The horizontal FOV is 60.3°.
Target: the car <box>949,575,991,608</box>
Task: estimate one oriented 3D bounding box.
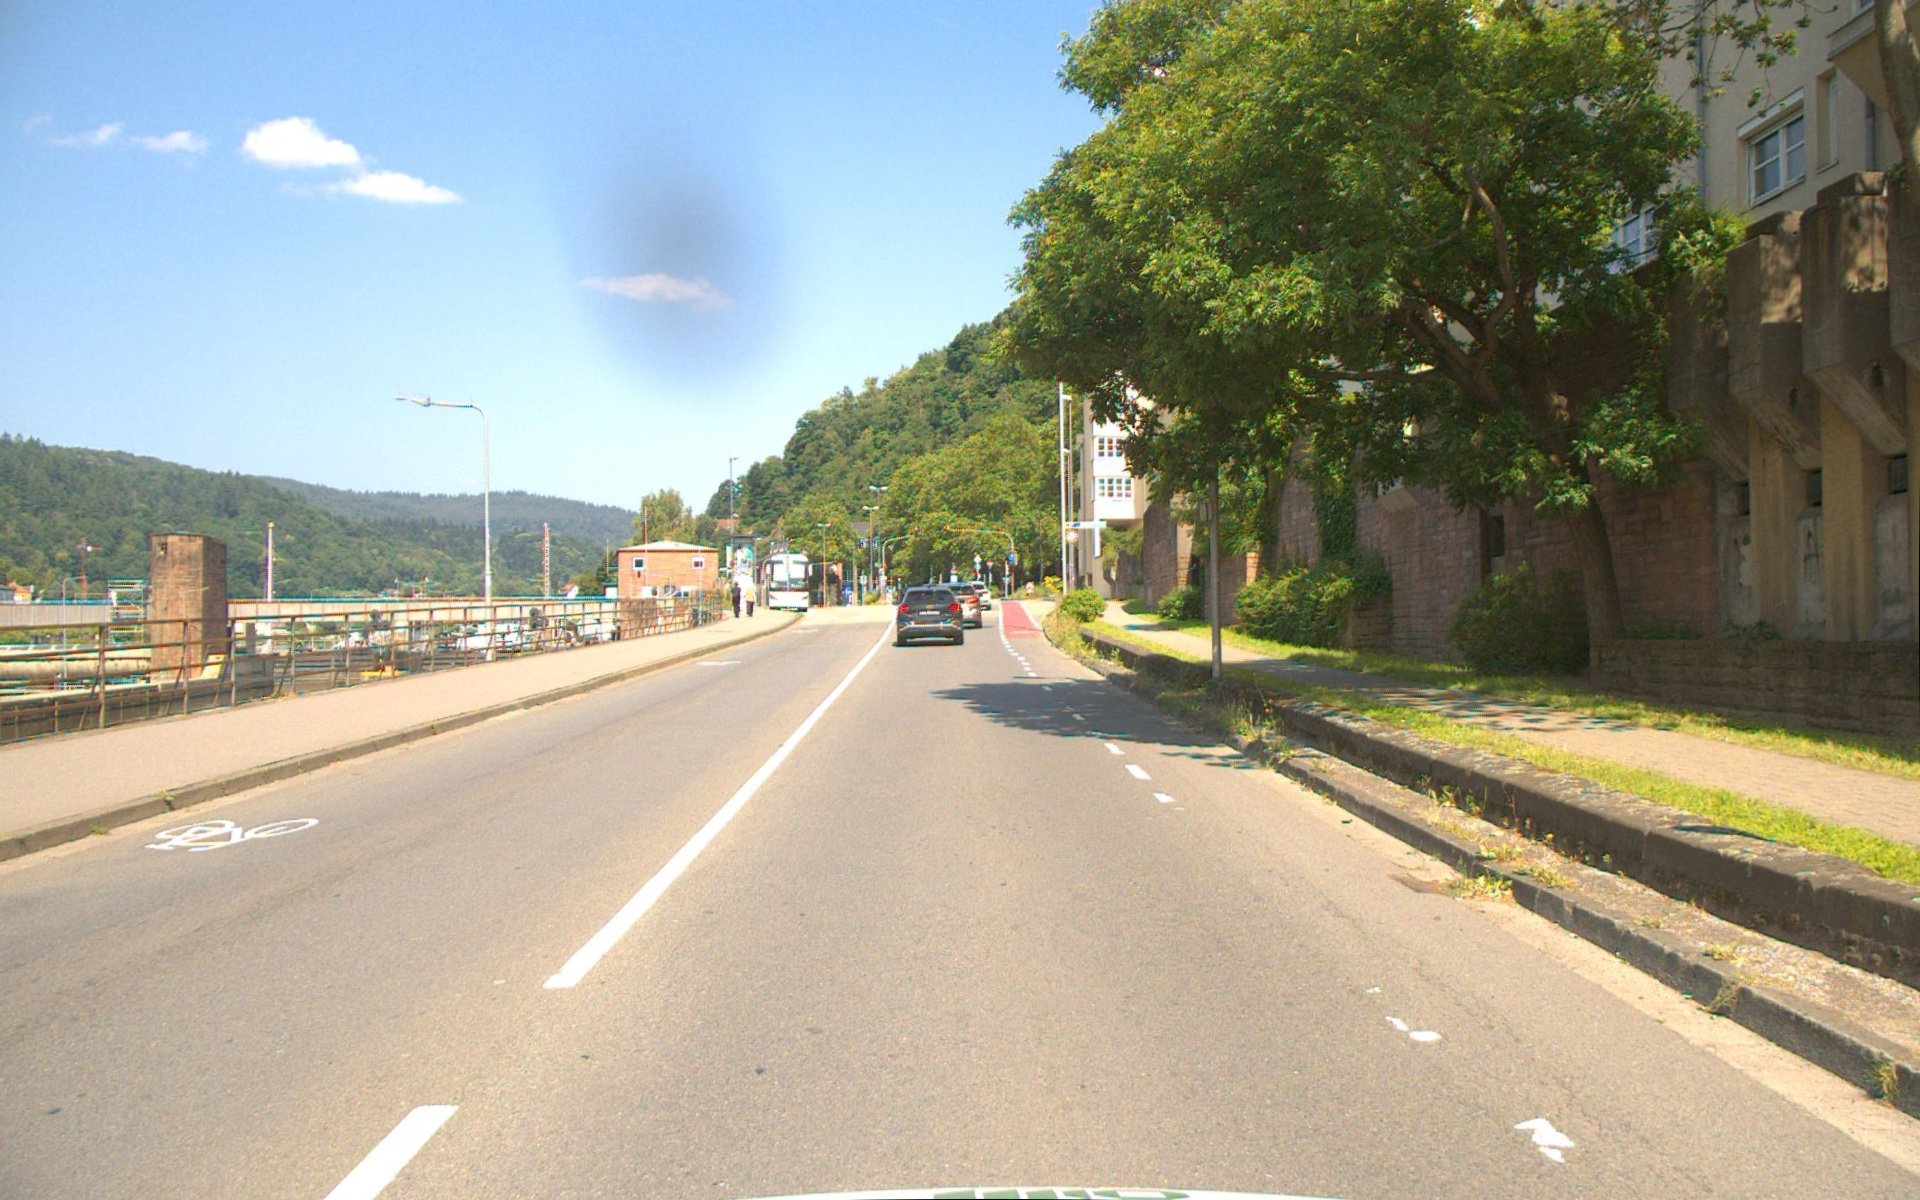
[{"bbox_3d":[0.467,-0.429,81.744,1.953,1.560,4.857,-1,0,-1],"label":"car"}]

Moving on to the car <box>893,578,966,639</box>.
[{"bbox_3d":[-0.809,0.211,44.163,1.831,1.540,4.150,-1,0,-1],"label":"car"}]

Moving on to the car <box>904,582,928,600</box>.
[{"bbox_3d":[-3.623,-0.772,135.847,1.830,1.382,3.997,-2,1,-3],"label":"car"}]

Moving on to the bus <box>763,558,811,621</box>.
[{"bbox_3d":[-11.499,-0.630,110.157,2.900,3.867,13.227,-1,0,-6],"label":"bus"}]

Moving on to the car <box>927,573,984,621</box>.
[{"bbox_3d":[-0.176,-0.106,56.654,1.850,1.547,4.305,-1,0,-1],"label":"car"}]

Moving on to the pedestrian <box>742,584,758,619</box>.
[{"bbox_3d":[-10.114,0.054,79.647,0.688,1.649,0.816,-1,0,-4],"label":"pedestrian"}]

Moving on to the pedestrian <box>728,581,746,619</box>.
[{"bbox_3d":[-10.443,0.006,77.464,0.669,1.739,0.773,-1,0,-1],"label":"pedestrian"}]
